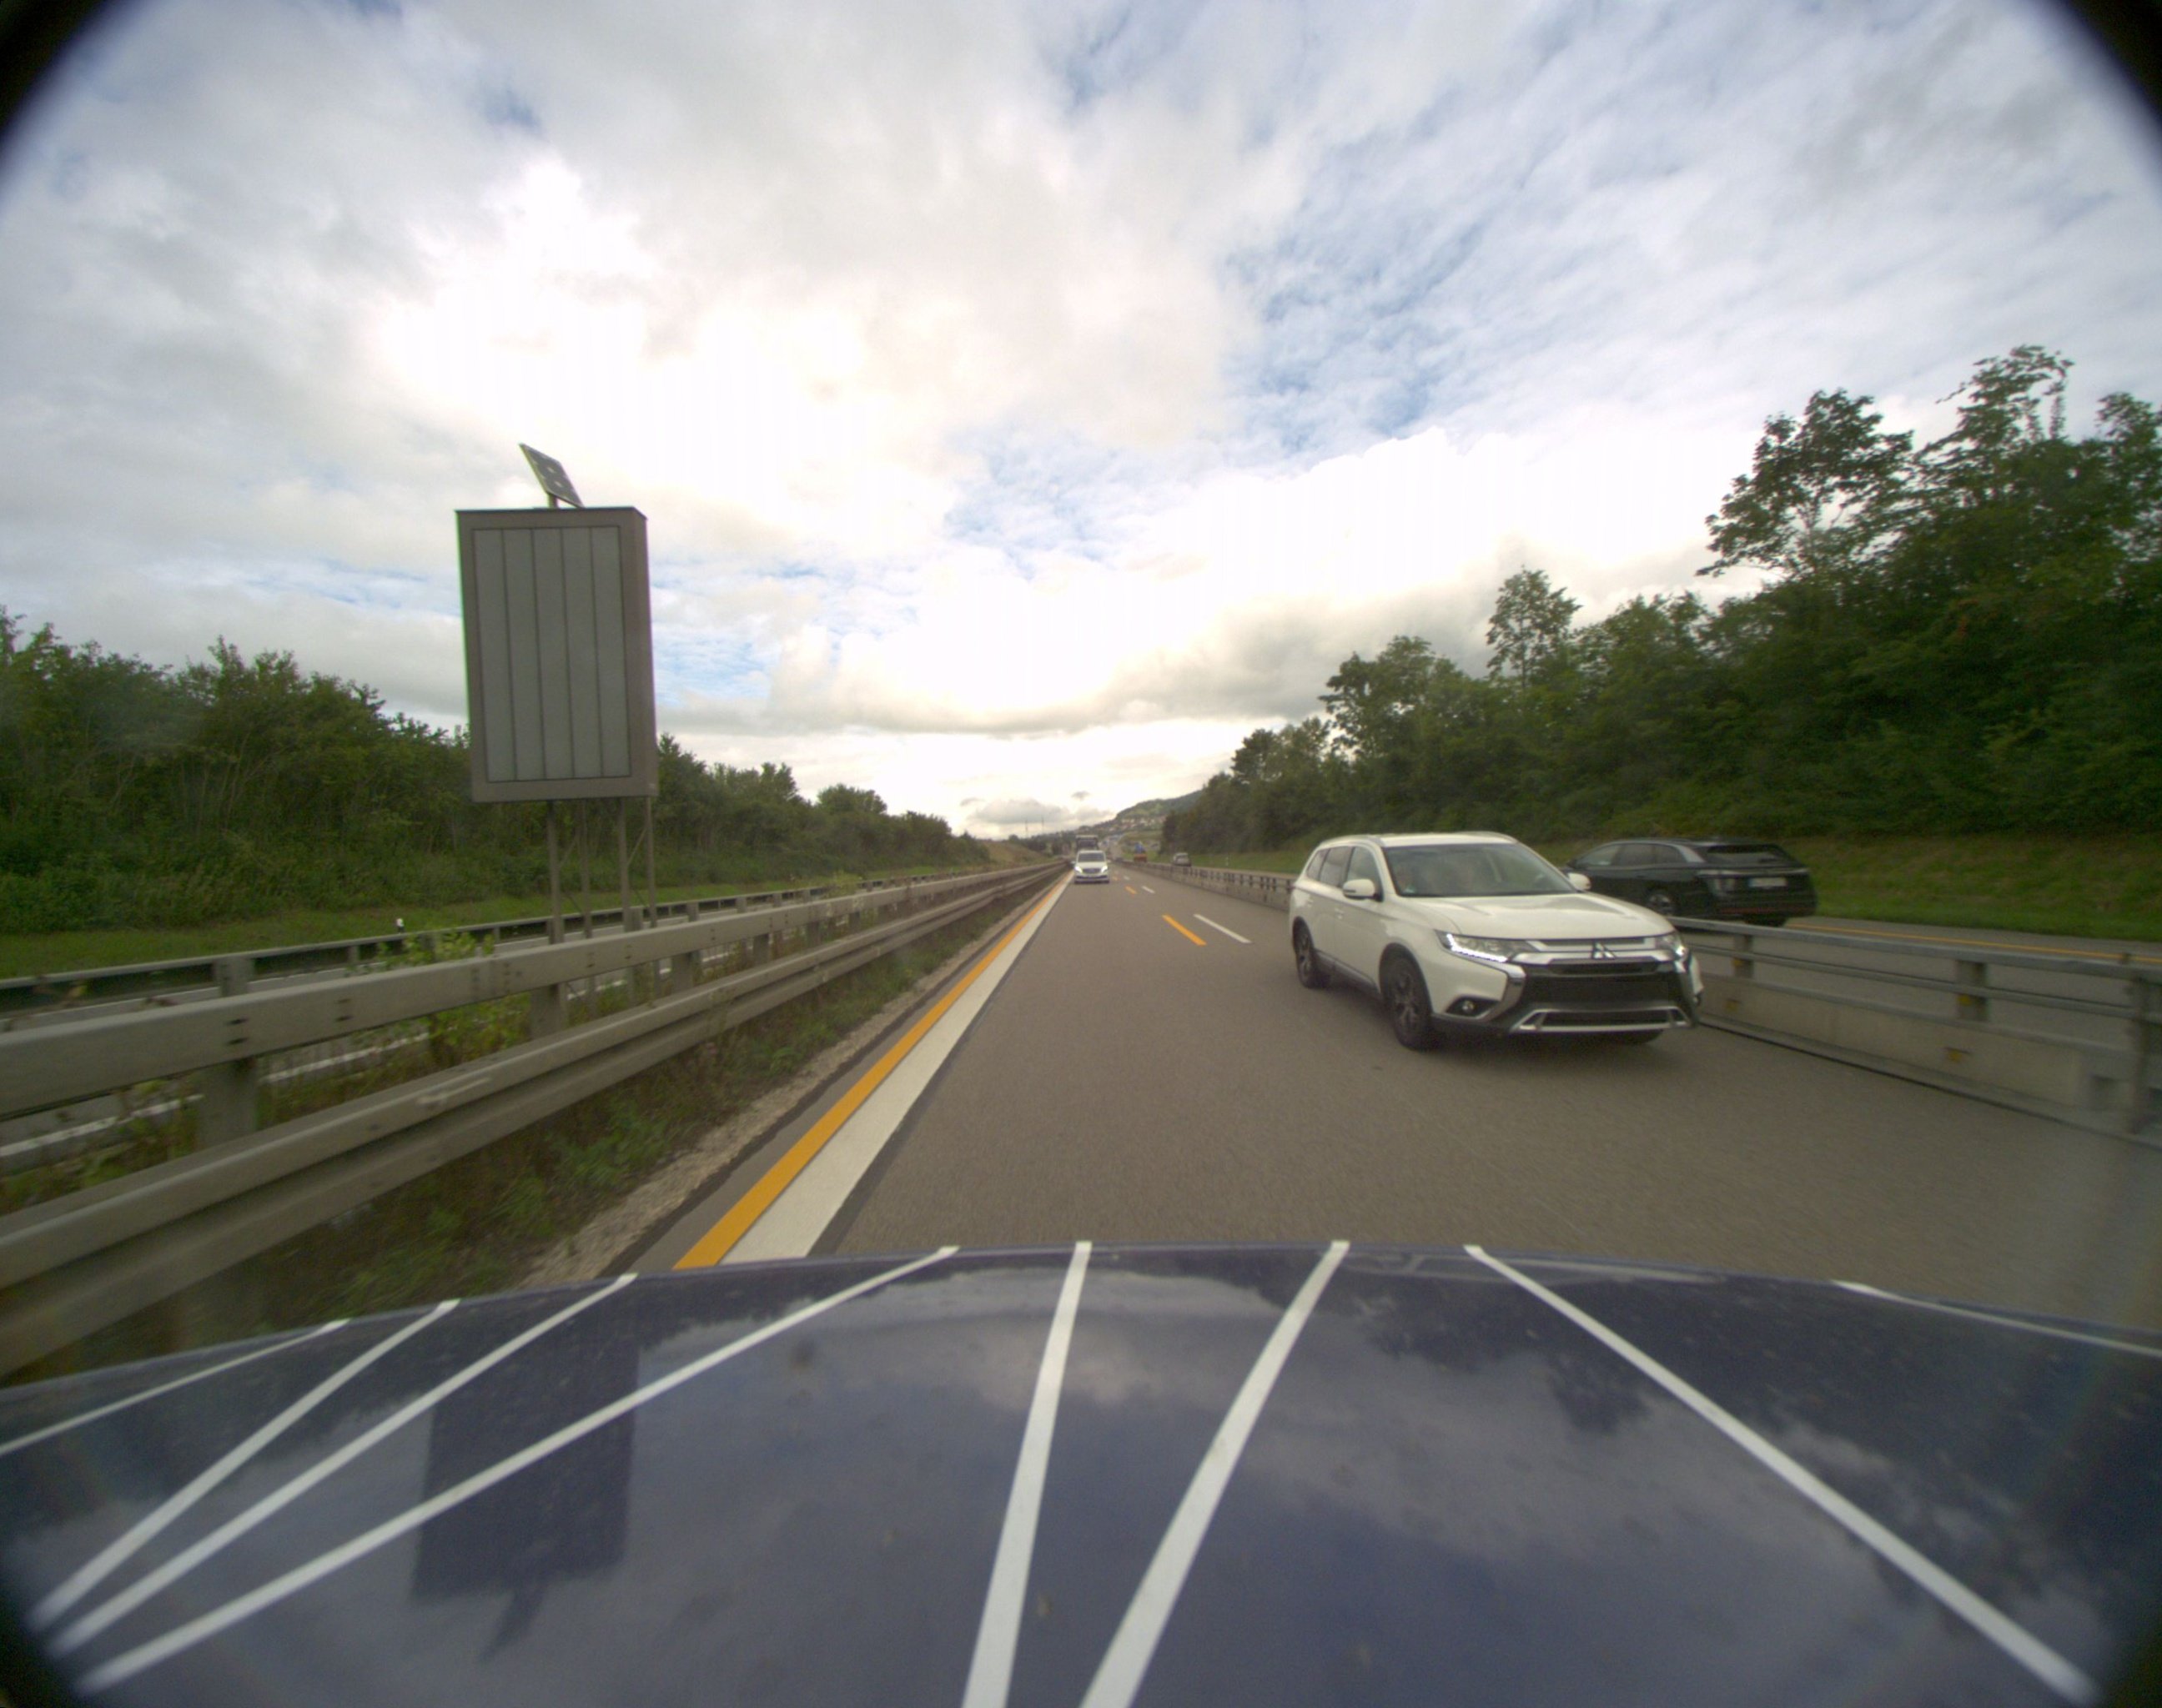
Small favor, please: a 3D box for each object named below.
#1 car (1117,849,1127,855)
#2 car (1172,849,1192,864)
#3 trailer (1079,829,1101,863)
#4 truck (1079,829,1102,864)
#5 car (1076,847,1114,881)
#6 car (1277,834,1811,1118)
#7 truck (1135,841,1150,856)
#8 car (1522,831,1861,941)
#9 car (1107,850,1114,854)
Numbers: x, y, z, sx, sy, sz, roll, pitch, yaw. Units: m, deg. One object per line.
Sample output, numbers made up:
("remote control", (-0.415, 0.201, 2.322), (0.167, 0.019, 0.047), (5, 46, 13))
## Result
("car", (9.928, -0.472, 184.130), (1.998, 1.498, 4.832), (-2, 0, 1))
("car", (11.043, 0.258, 83.271), (1.685, 1.541, 3.949), (-1, 1, 0))
("trailer", (1.260, -1.006, 97.224), (2.521, 4.081, 11.112), (-2, 1, 1))
("truck", (1.159, -0.938, 92.165), (2.521, 4.081, 5.685), (-2, 1, 1))
("car", (0.774, 0.503, 43.284), (1.991, 1.787, 4.585), (-2, 1, 1))
("car", (3.284, 0.704, 6.727), (1.998, 1.618, 4.607), (-1, 0, 2))
("truck", (11.989, -1.096, 148.113), (2.496, 2.702, 6.667), (-2, 0, 1))
("car", (10.219, 0.445, 13.418), (1.998, 1.515, 5.024), (-2, 0, 1))
("car", (10.160, -0.639, 261.554), (1.939, 1.482, 4.589), (-3, 0, 1))
